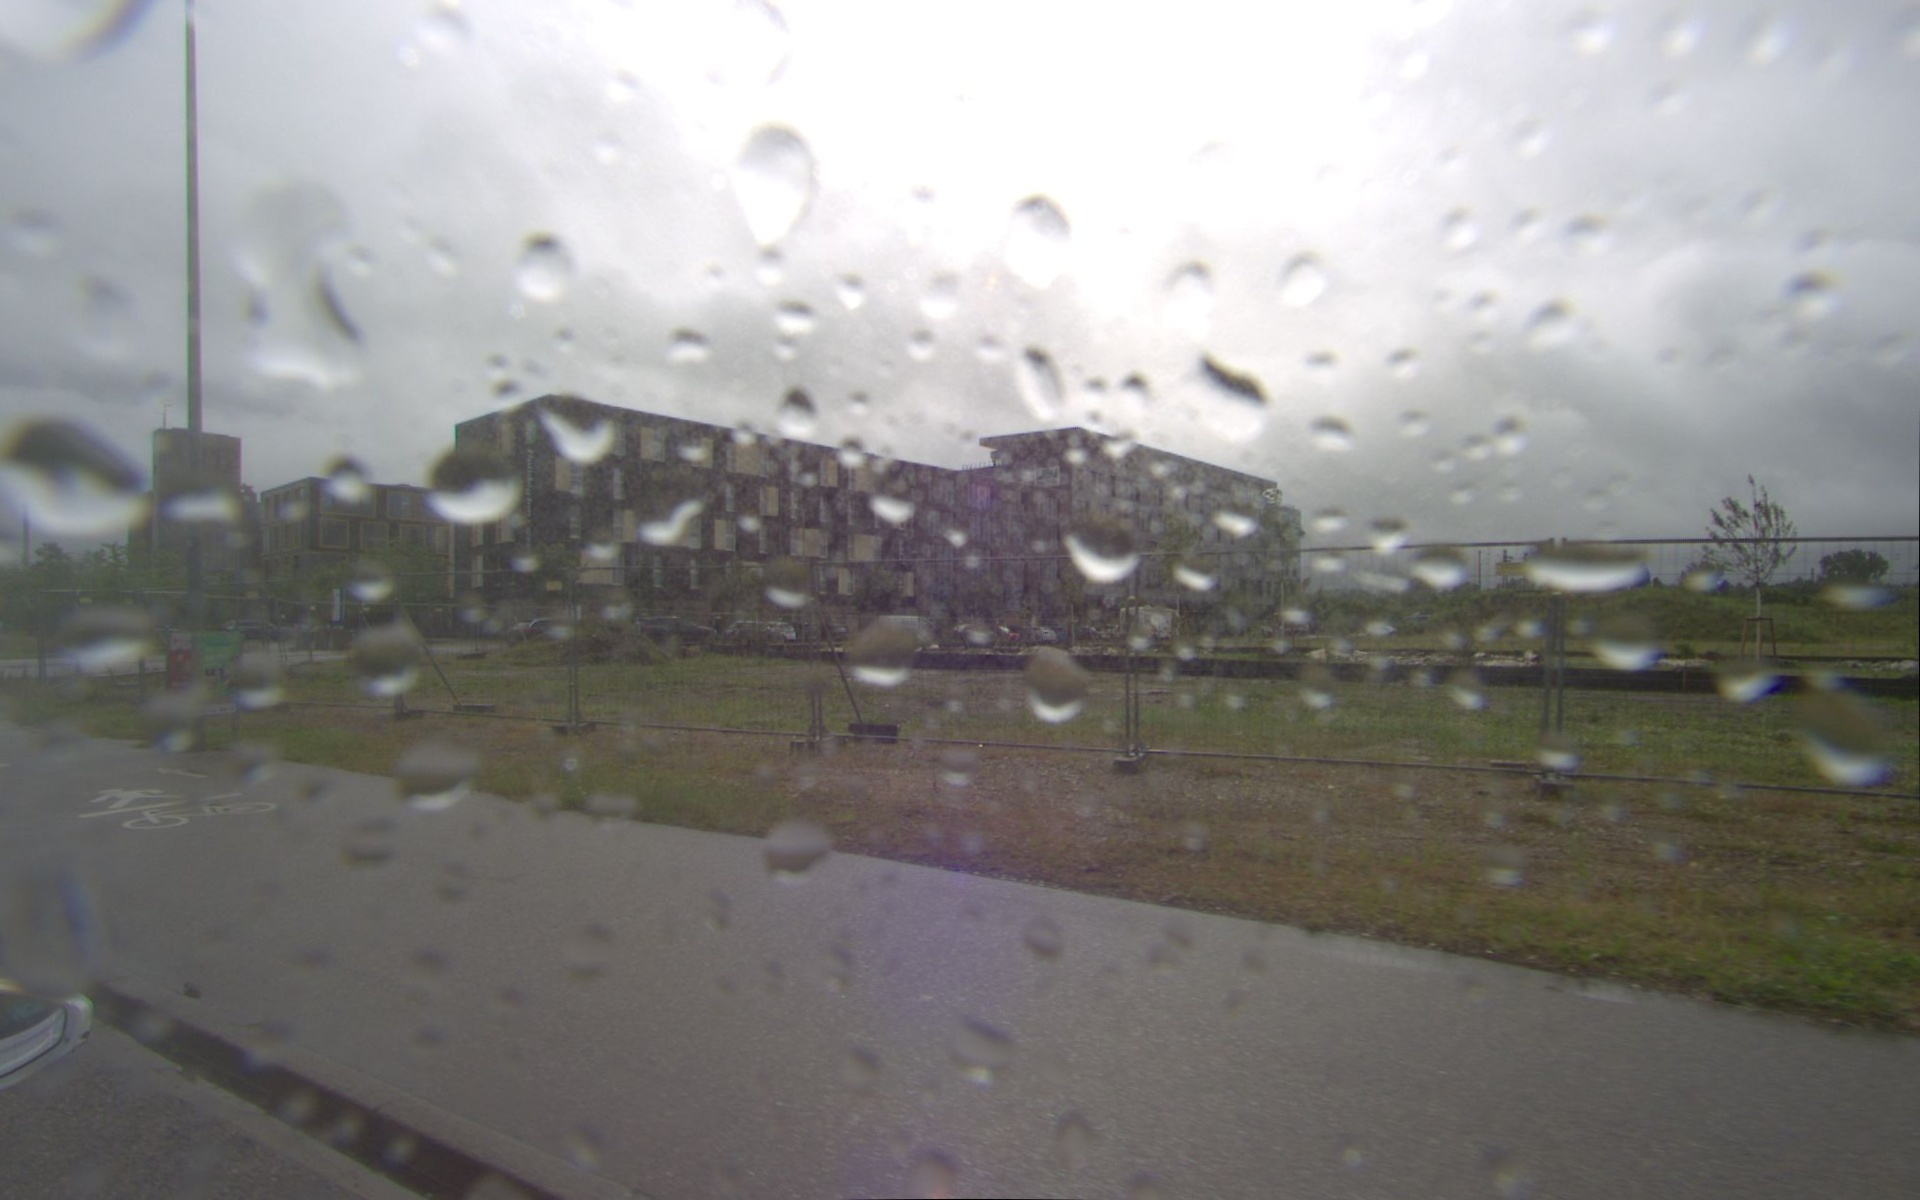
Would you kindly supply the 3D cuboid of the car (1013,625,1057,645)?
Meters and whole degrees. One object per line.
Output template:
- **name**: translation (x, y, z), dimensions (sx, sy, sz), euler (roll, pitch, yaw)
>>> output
- **car**: translation (6.794, 3.167, 90.830), dimensions (3.797, 1.635, 1.538), euler (-1, -4, 40)

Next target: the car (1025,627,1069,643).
- **car**: translation (8.077, 3.231, 92.722), dimensions (3.858, 1.312, 1.541), euler (-1, -5, 40)

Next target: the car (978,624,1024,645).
- **car**: translation (3.562, 2.962, 86.506), dimensions (3.797, 1.635, 1.538), euler (-1, -4, 40)

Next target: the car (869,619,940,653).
- **car**: translation (-3.459, 2.314, 63.569), dimensions (1.977, 1.792, 4.309), euler (0, -7, 41)

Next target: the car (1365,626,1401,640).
- **car**: translation (54.548, 4.247, 129.150), dimensions (3.945, 1.750, 1.989), euler (0, -1, 35)

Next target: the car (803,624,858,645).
- **car**: translation (-9.325, 2.475, 71.820), dimensions (3.797, 1.412, 1.774), euler (-1, -5, 40)

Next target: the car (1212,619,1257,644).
- **car**: translation (25.836, 2.975, 94.250), dimensions (1.979, 2.038, 4.772), euler (-1, -5, 44)

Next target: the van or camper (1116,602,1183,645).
- **van or camper**: translation (16.410, 2.074, 86.355), dimensions (2.501, 3.240, 6.753), euler (0, -5, 41)

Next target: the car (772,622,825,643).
- **car**: translation (-11.244, 2.280, 69.777), dimensions (3.739, 1.413, 1.631), euler (-2, -4, 41)

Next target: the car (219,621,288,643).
- **car**: translation (-54.813, 2.475, 77.729), dimensions (1.649, 1.578, 4.180), euler (-1, -1, 44)

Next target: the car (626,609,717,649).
- **car**: translation (-14.426, 1.452, 50.237), dimensions (1.974, 1.748, 3.978), euler (0, -5, 37)

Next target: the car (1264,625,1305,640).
- **car**: translation (39.374, 3.921, 121.554), dimensions (4.323, 1.708, 1.786), euler (-1, -5, 44)

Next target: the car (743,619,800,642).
- **car**: translation (-12.837, 2.066, 68.055), dimensions (3.763, 1.412, 1.757), euler (-1, -5, 40)

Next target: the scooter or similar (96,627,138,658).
- **scooter or similar**: translation (-34.451, 1.722, 40.955), dimensions (0.493, 1.203, 1.283), euler (2, 1, 11)

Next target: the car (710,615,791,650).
- **car**: translation (-11.364, 1.768, 54.474), dimensions (1.974, 1.661, 3.978), euler (0, -5, 37)

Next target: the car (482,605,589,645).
- **car**: translation (-18.938, 1.129, 44.779), dimensions (1.975, 1.638, 3.974), euler (-4, -3, 37)

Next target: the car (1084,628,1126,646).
- **car**: translation (14.472, 3.733, 100.162), dimensions (3.797, 1.635, 1.774), euler (-1, -5, 40)

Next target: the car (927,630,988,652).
- **car**: translation (-0.150, 2.762, 67.730), dimensions (1.977, 1.432, 3.970), euler (0, -3, 40)
